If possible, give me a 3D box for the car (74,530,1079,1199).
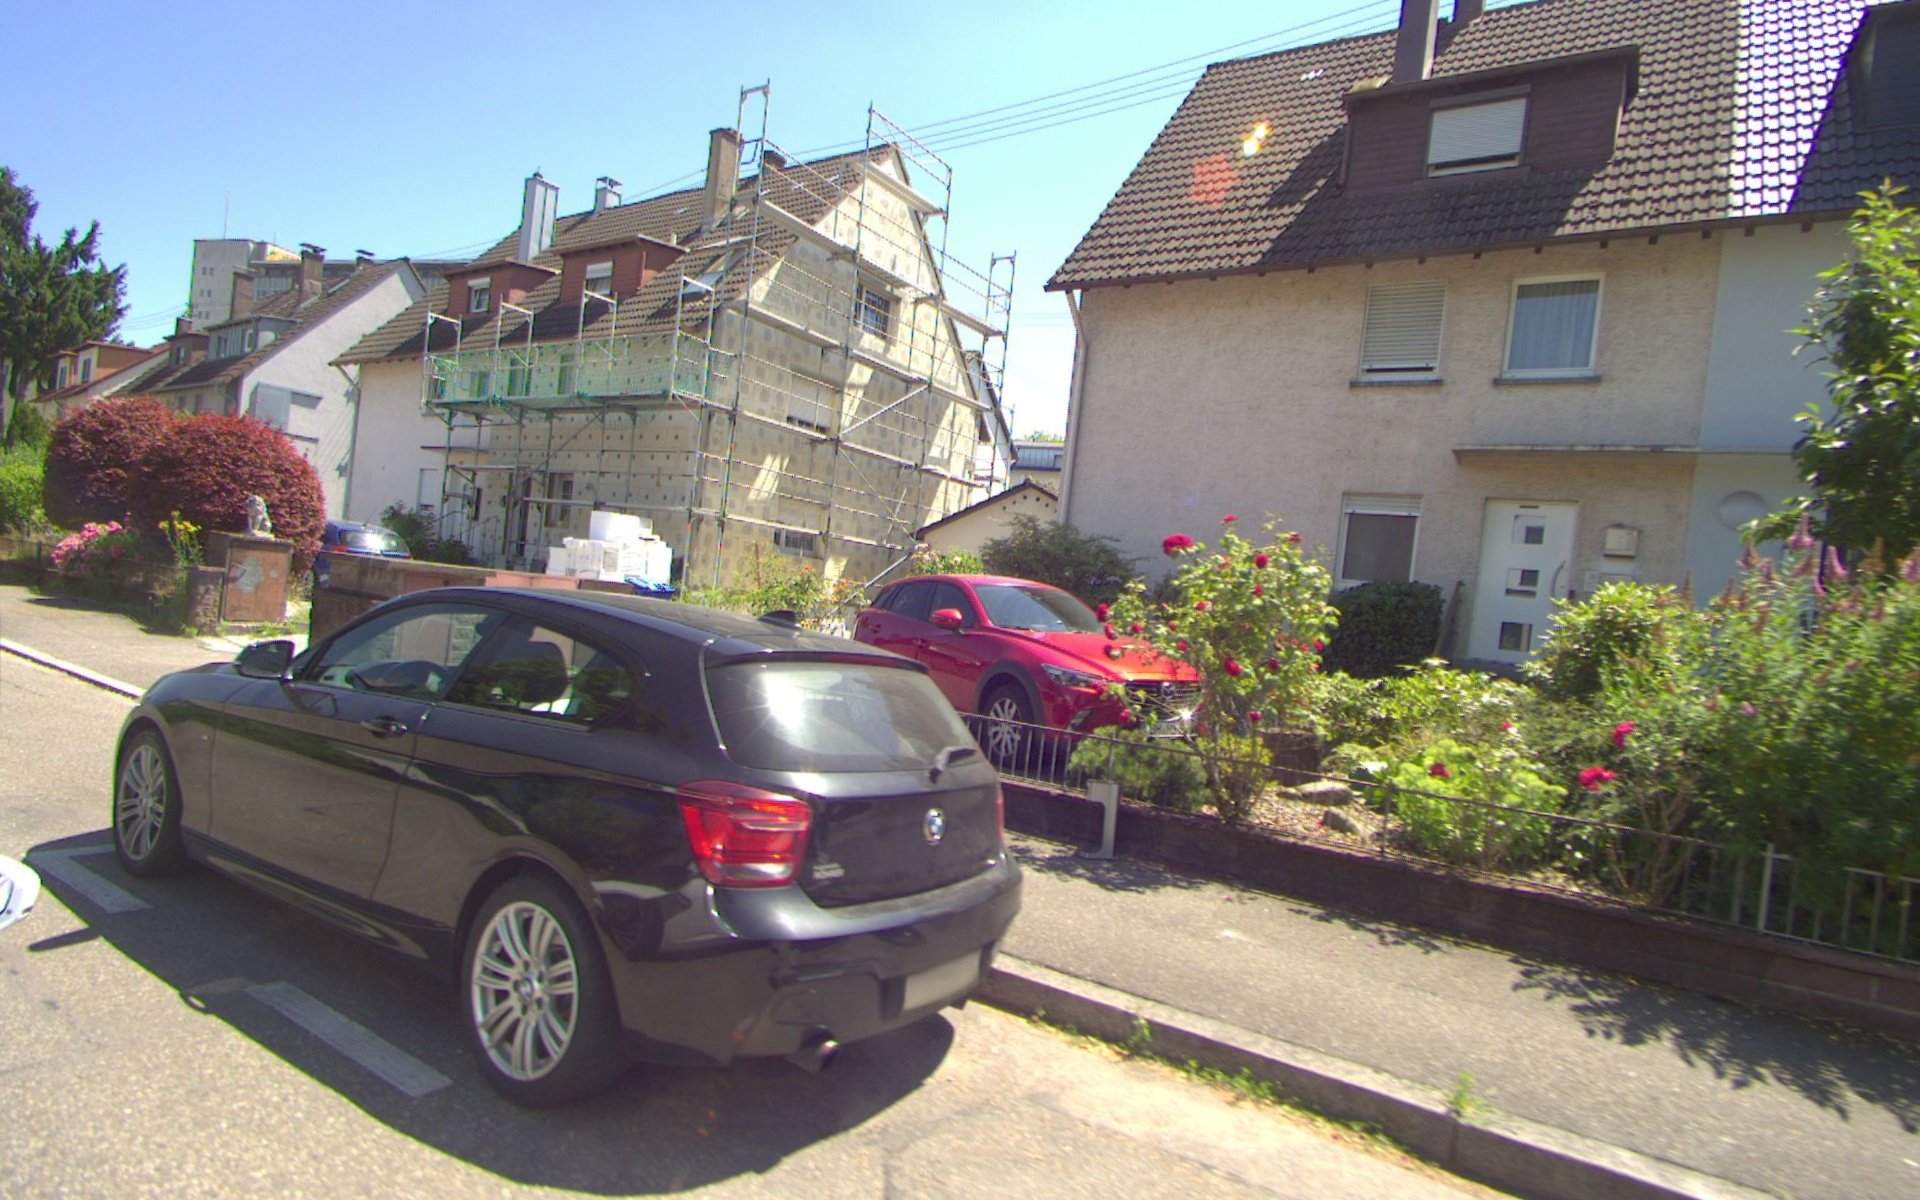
[{"bbox_3d":[-1.721,0.642,4.073,3.934,1.415,1.658,6,-1,32],"label":"car"}]

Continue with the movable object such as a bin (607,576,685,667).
[{"bbox_3d":[-4.554,0.297,14.590,0.738,1.236,0.756,6,4,38],"label":"movable object such as a bin"}]

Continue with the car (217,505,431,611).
[{"bbox_3d":[-11.922,-0.804,18.806,3.934,1.530,1.795,7,2,32],"label":"car"}]

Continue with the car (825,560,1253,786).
[{"bbox_3d":[0.455,0.535,9.065,1.726,1.553,4.019,3,-1,-33],"label":"car"}]

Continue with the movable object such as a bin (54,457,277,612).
[{"bbox_3d":[-16.821,-1.327,21.417,1.680,2.779,3.149,6,-1,33],"label":"movable object such as a bin"}]
